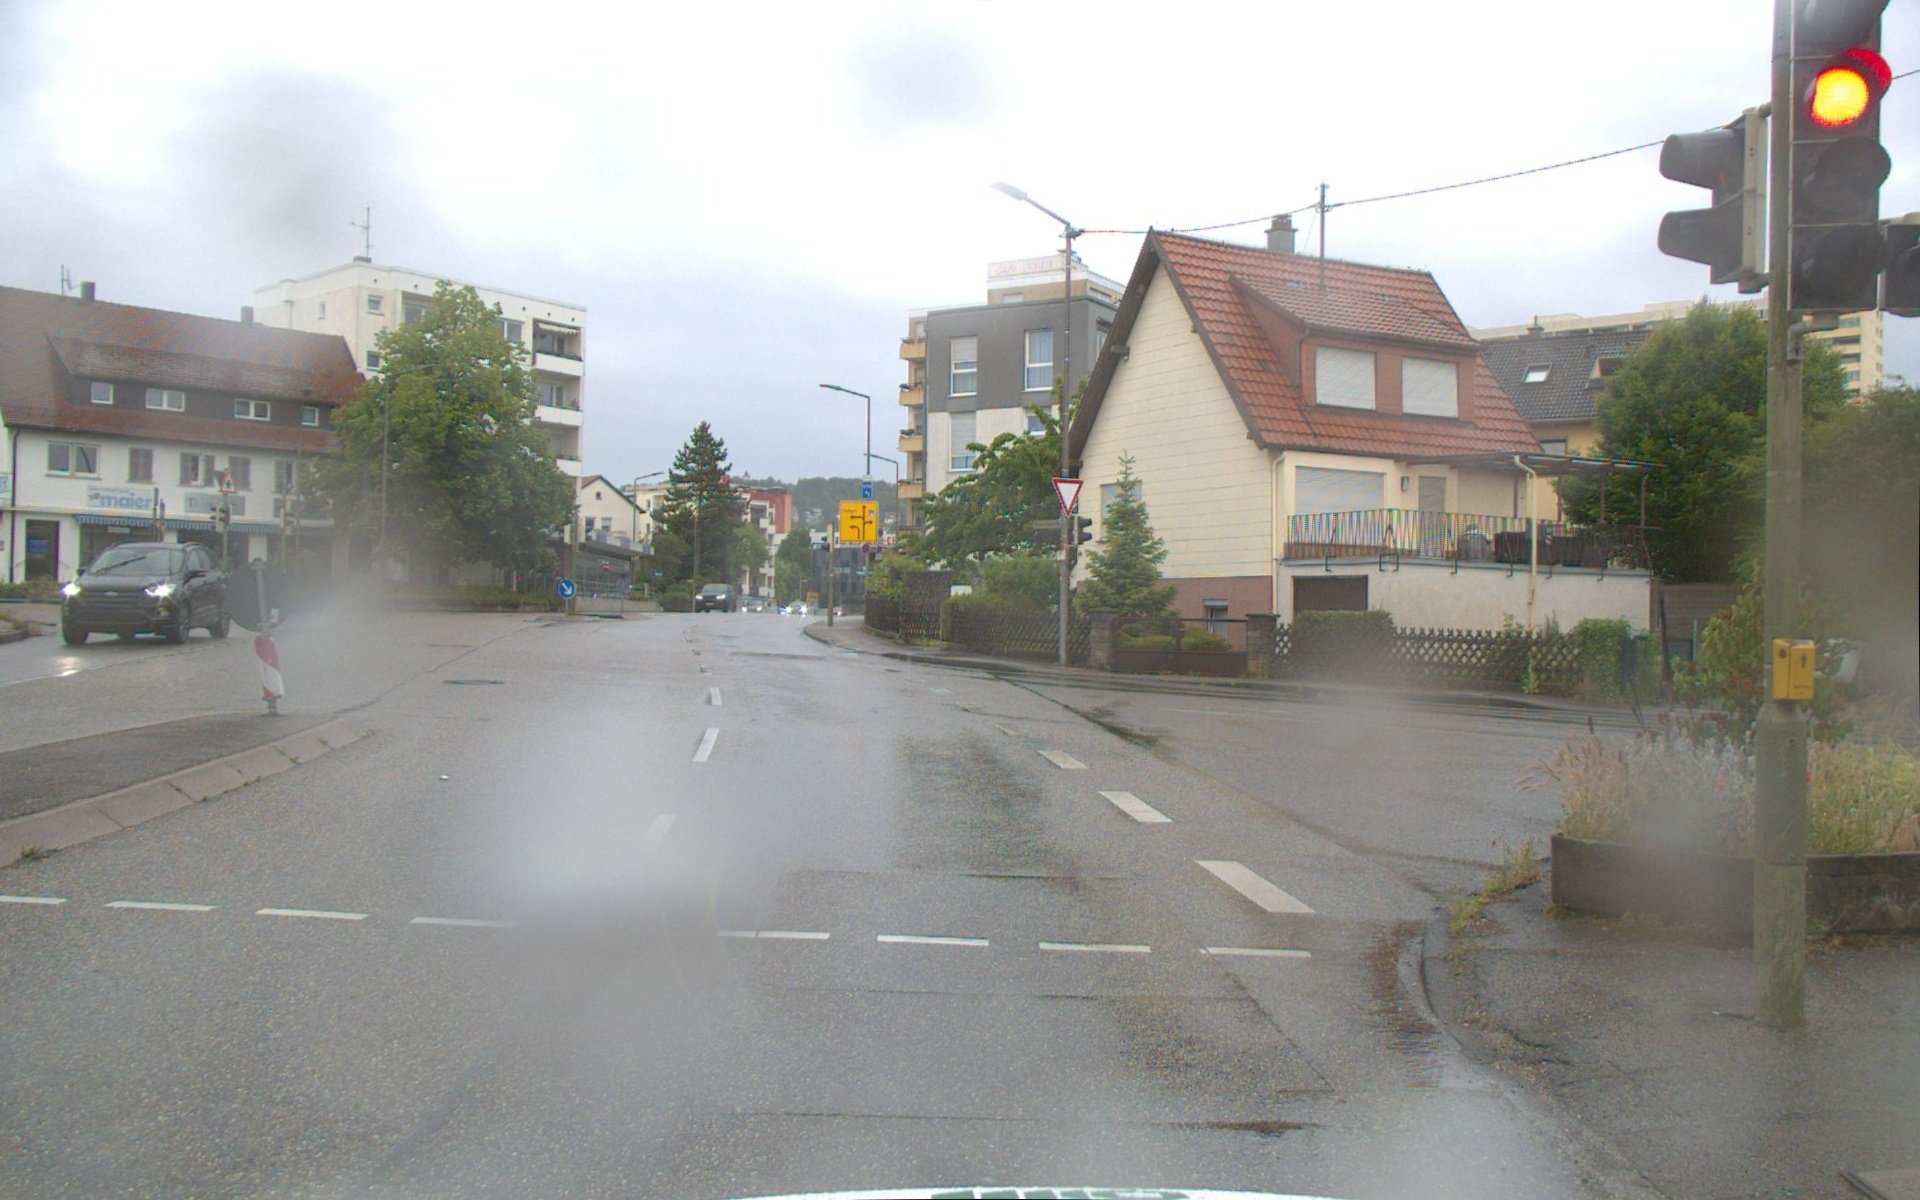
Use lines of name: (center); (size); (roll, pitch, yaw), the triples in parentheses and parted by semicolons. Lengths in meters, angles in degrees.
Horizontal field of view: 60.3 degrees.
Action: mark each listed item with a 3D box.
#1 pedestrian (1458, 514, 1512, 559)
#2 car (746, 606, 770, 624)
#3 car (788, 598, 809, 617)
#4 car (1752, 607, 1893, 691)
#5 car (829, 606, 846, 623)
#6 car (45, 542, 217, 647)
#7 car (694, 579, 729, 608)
pedestrian: (11.159, -1.346, 35.176); (0.902, 0.898, 0.632); (1, -2, -20)
car: (-17.724, 1.336, 145.497); (1.955, 1.489, 3.995); (1, 0, -5)
car: (-14.995, 0.655, 153.710); (1.955, 1.708, 3.995); (1, 0, -5)
car: (15.629, 0.853, 29.876); (1.780, 1.386, 3.986); (1, 0, 35)
car: (-14.333, 1.682, 193.675); (1.955, 1.843, 3.995); (1, 0, -5)
car: (-14.001, -0.081, 28.171); (1.848, 1.625, 4.166); (1, 0, -16)
car: (-15.674, -0.412, 104.499); (1.956, 1.768, 5.173); (1, 0, -7)
